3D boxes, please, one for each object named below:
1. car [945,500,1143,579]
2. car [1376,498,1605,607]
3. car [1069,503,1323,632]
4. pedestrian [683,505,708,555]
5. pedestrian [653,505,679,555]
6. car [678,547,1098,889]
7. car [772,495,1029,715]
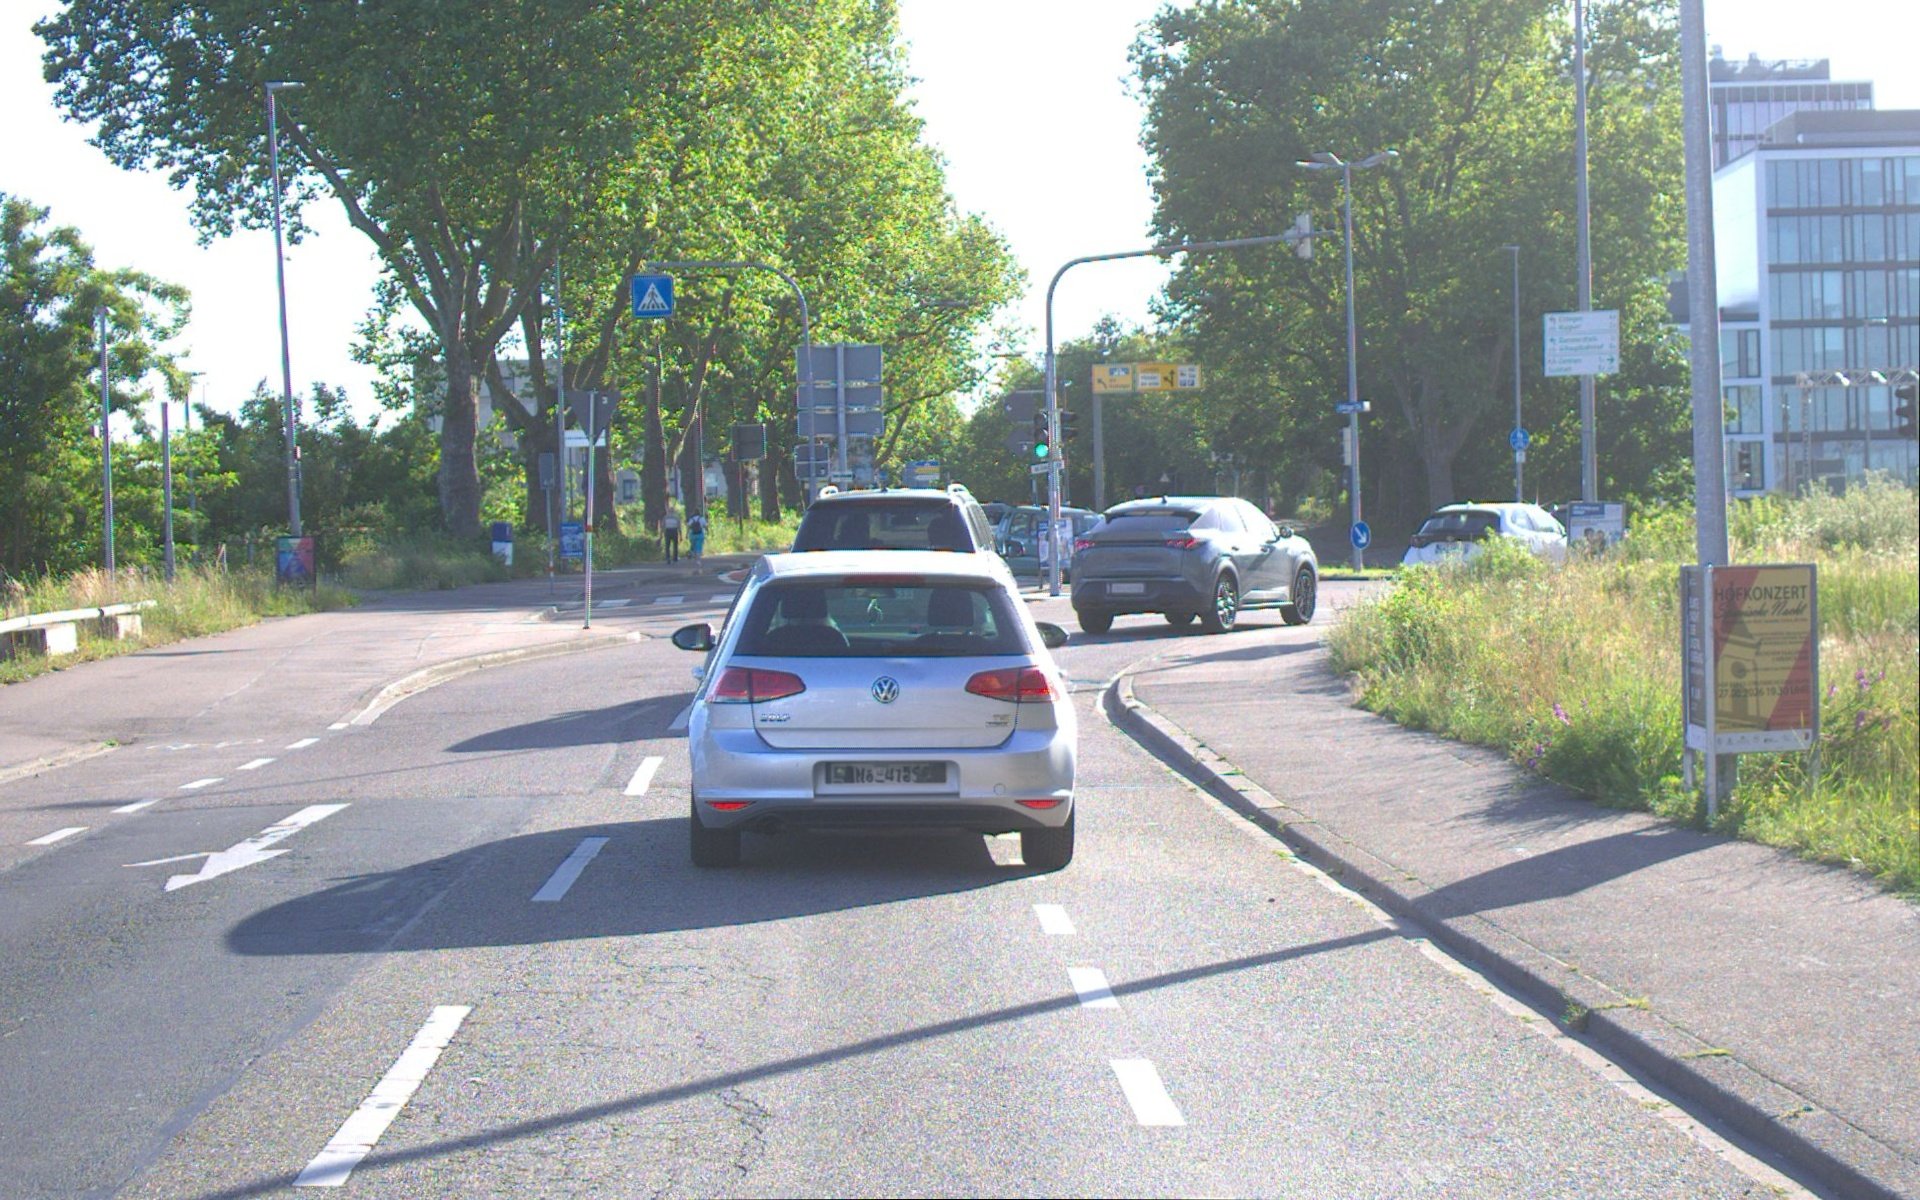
[{"bbox_3d":[1.727,-1.263,71.689,1.994,1.590,3.999,-2,2,-39],"label":"car"},{"bbox_3d":[8.177,-0.746,52.713,1.902,1.590,3.992,0,1,35],"label":"car"},{"bbox_3d":[3.003,-0.435,42.825,1.916,1.524,4.403,0,1,21],"label":"car"},{"bbox_3d":[-7.566,-2.011,98.312,0.678,1.410,0.684,-1,1,-1],"label":"pedestrian"},{"bbox_3d":[-8.415,-2.002,98.389,0.678,1.410,0.684,-1,1,-1],"label":"pedestrian"},{"bbox_3d":[-0.423,0.472,16.747,1.789,1.415,4.001,-1,1,-3],"label":"car"},{"bbox_3d":[-0.435,-0.014,30.097,1.819,1.762,4.629,-1,1,4],"label":"car"}]
